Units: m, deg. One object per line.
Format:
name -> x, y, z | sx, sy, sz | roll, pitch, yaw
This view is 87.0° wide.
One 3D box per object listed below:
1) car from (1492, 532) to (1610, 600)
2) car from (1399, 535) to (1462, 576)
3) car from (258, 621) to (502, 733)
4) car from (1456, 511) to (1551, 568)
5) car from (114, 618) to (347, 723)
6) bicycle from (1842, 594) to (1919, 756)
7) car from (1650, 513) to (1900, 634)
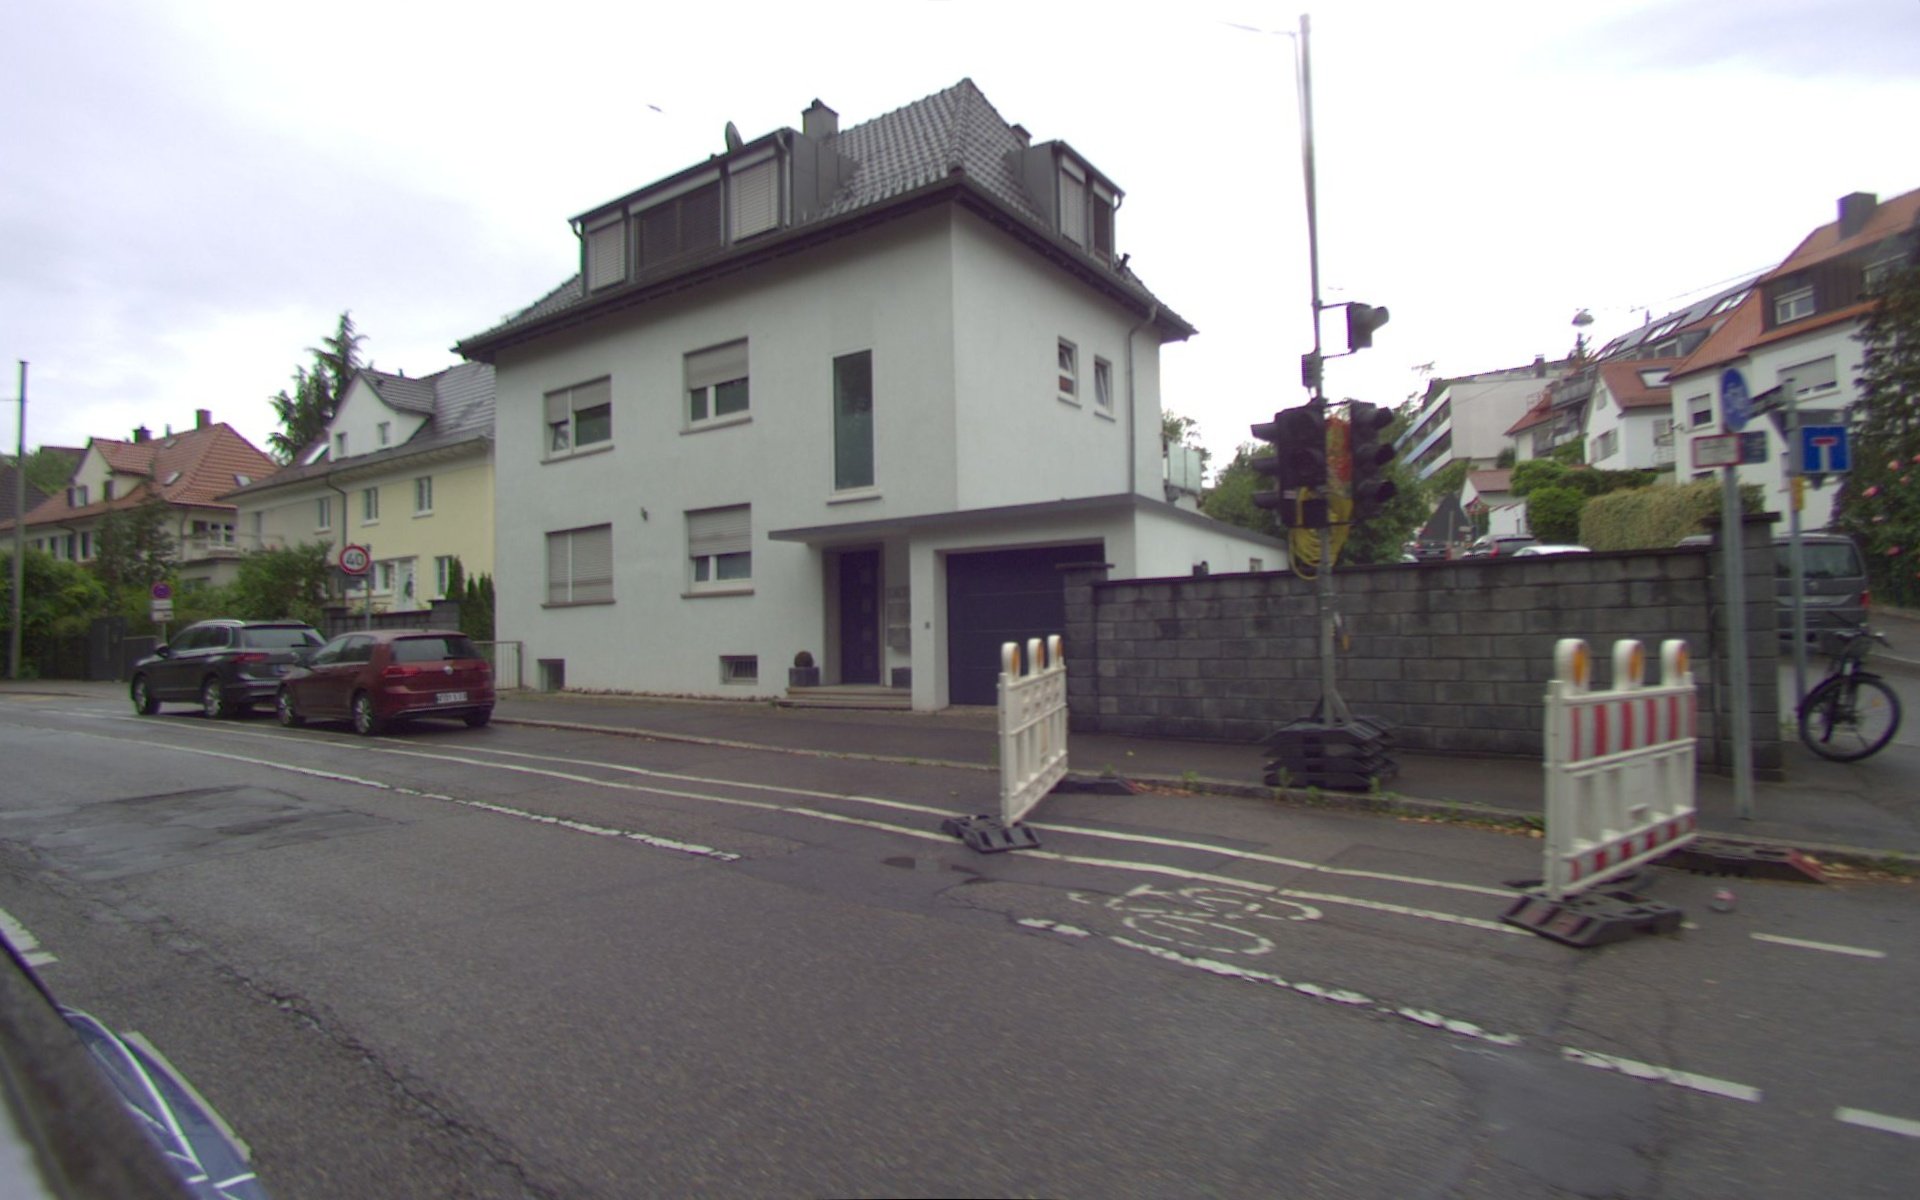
car -> 16.904, -1.033, 29.171 | 1.851, 1.758, 3.984 | -1, 4, 14
car -> 21.716, -2.109, 46.867 | 1.851, 1.758, 3.984 | -1, 4, 14
car -> -8.800, 1.118, 15.214 | 4.221, 1.451, 1.602 | -3, -2, 36
car -> 18.354, -2.057, 34.363 | 1.851, 1.758, 3.984 | -1, 4, 14
car -> -13.096, 1.246, 18.109 | 4.387, 1.671, 1.742 | -3, -3, 30
bicycle -> 7.386, 0.548, 8.058 | 0.464, 1.132, 1.497 | 0, 2, 44
car -> 14.572, -0.551, 18.439 | 1.980, 1.933, 3.984 | -1, 4, 14
